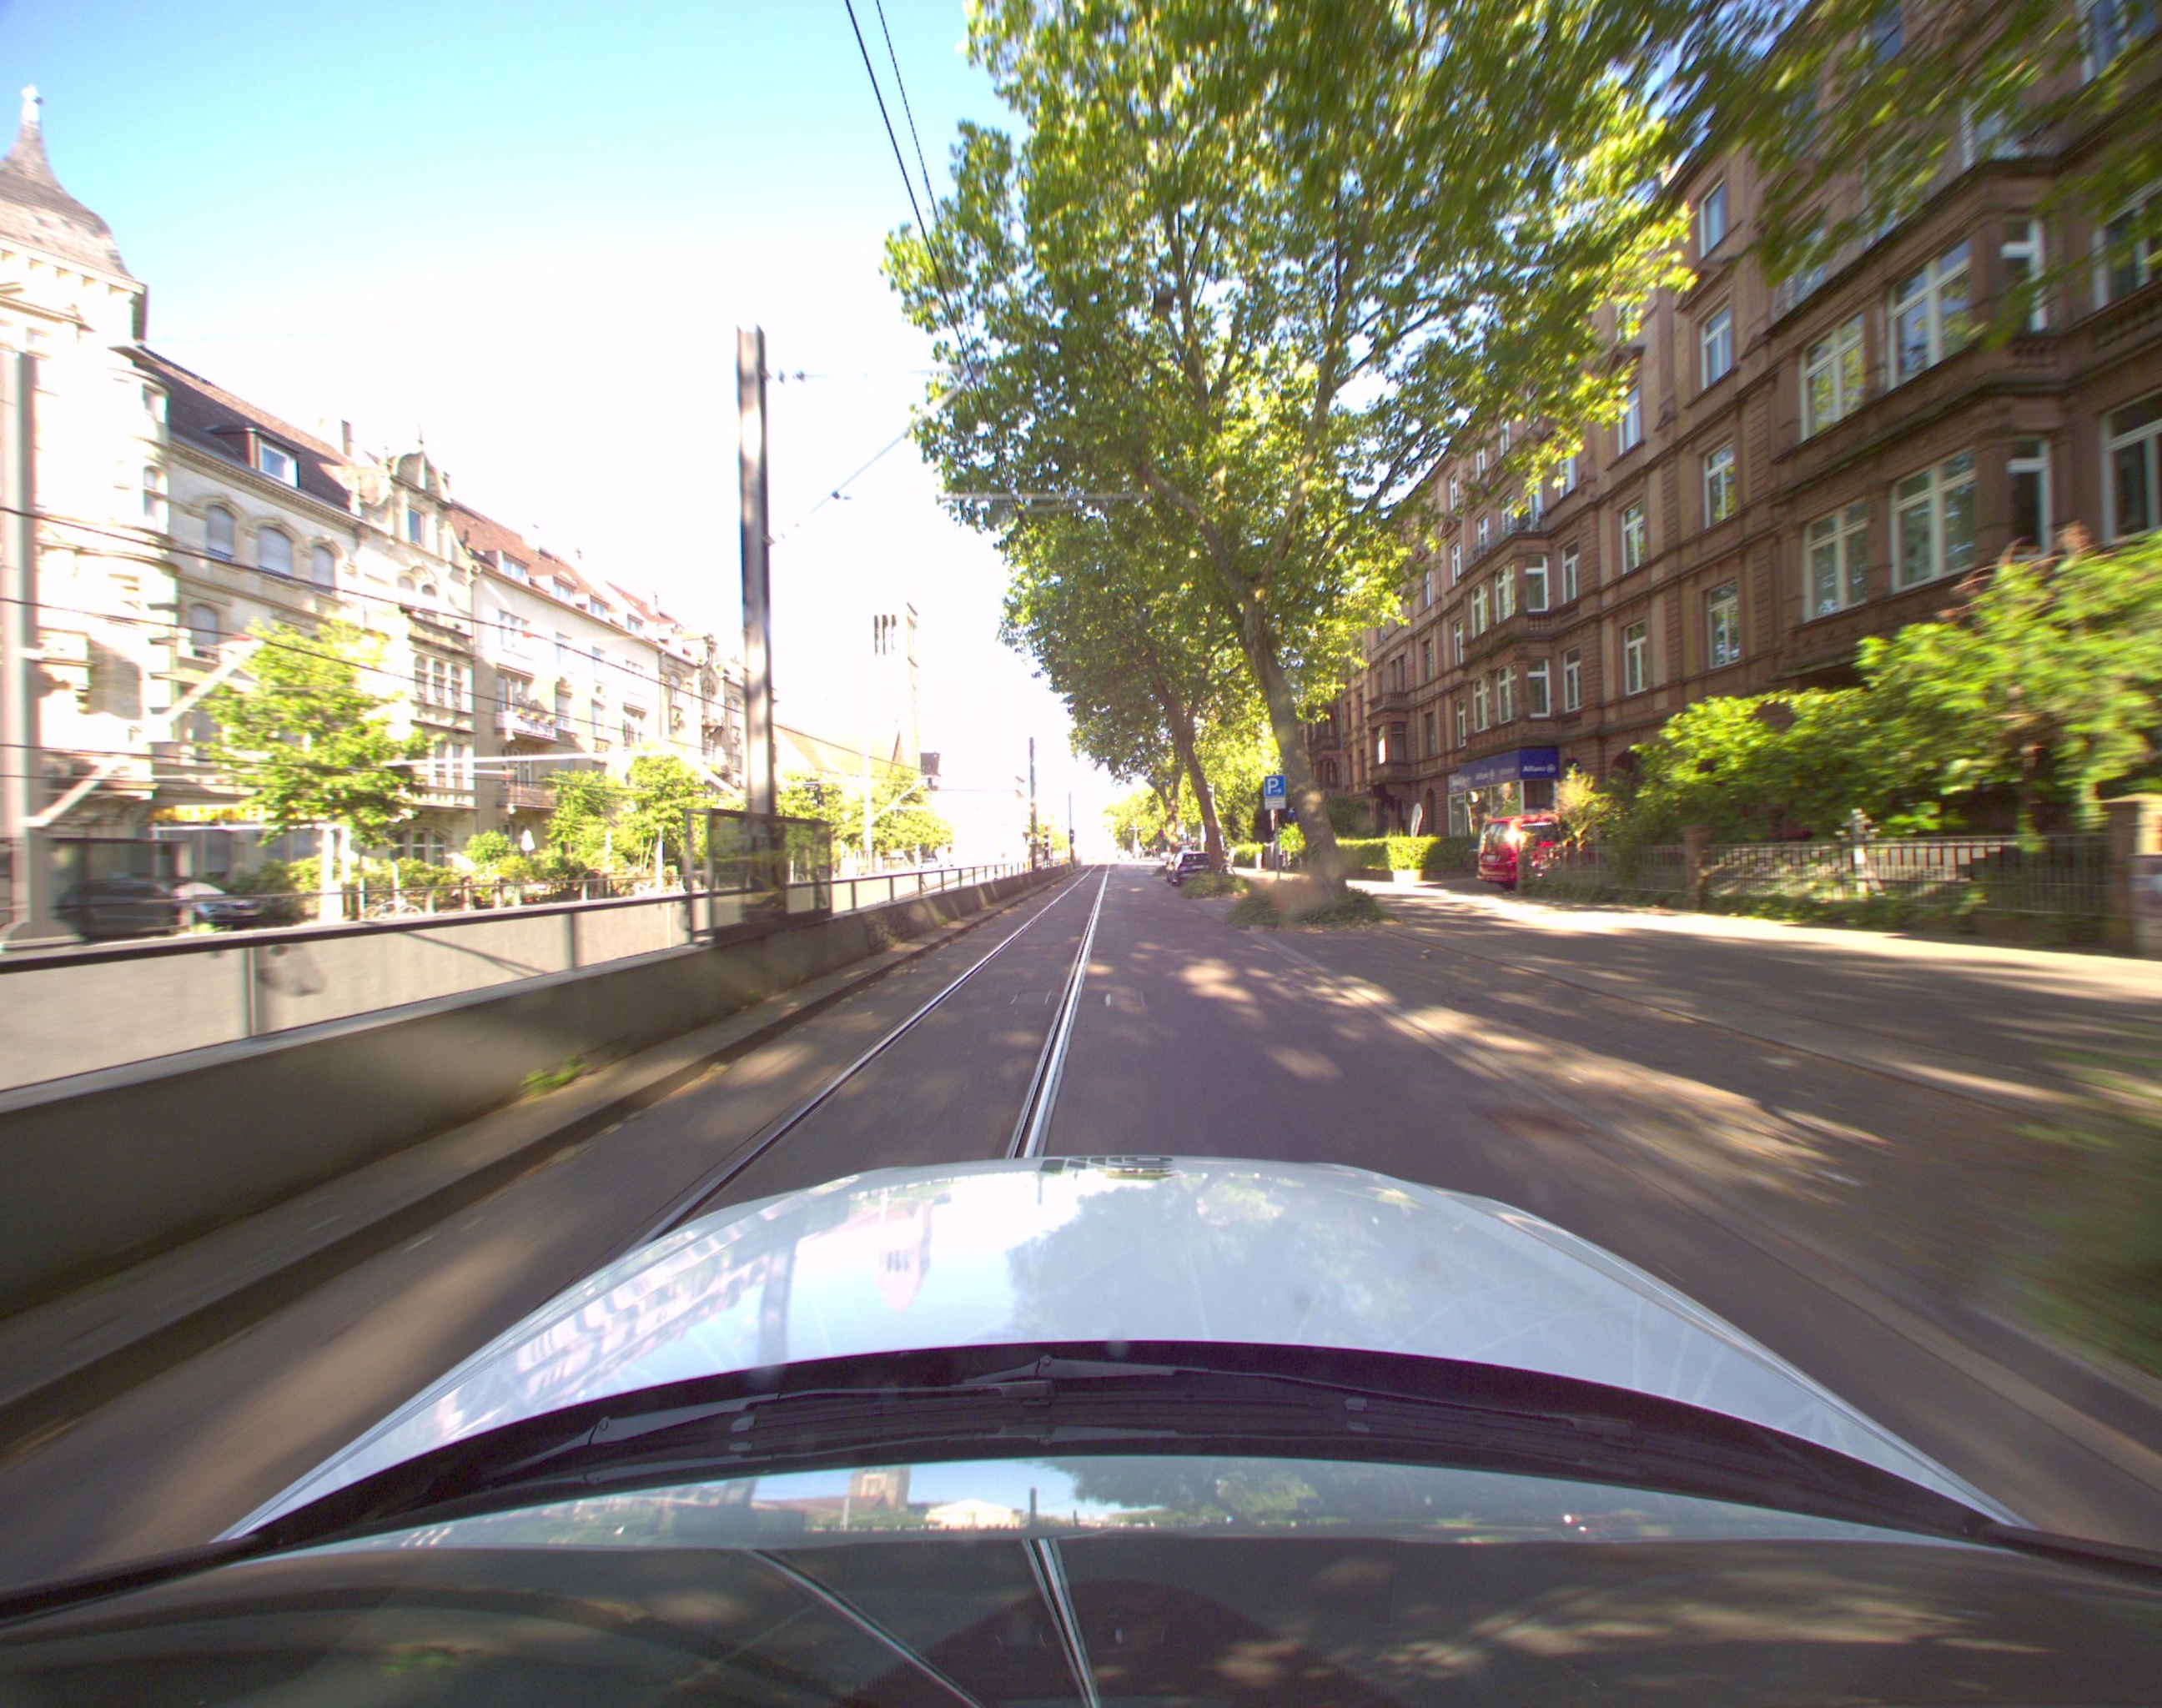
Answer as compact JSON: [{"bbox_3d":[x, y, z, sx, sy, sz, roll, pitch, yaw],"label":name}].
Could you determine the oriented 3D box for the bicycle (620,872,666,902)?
[{"bbox_3d":[-19.550,1.483,36.361,1.721,1.280,0.601,-2,0,8],"label":"bicycle"}]

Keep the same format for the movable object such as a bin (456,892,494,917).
[{"bbox_3d":[-23.382,1.950,31.434,0.895,0.919,0.783,1,0,-4],"label":"movable object such as a bin"}]

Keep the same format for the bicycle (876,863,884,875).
[{"bbox_3d":[-18.109,1.372,73.297,0.487,1.022,1.879,1,0,-22],"label":"bicycle"}]

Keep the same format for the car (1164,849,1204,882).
[{"bbox_3d":[5.091,0.539,40.705,1.546,1.499,4.052,-3,0,2],"label":"car"}]

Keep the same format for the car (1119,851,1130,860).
[{"bbox_3d":[7.173,0.299,134.244,1.739,1.462,3.645,1,0,1],"label":"car"}]

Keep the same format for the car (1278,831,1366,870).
[{"bbox_3d":[14.270,-0.221,48.411,4.555,2.013,1.915,-3,0,1],"label":"car"}]

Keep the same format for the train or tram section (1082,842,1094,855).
[{"bbox_3d":[1.880,-1.482,216.043,2.940,3.410,10.798,1,0,3],"label":"train or tram section"}]

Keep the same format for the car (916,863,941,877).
[{"bbox_3d":[-17.441,1.809,93.324,1.708,1.555,4.515,1,0,4],"label":"car"}]

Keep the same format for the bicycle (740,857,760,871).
[{"bbox_3d":[-25.301,0.737,62.309,0.502,1.018,2.115,1,0,6],"label":"bicycle"}]

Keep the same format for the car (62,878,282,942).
[{"bbox_3d":[-26.117,1.571,23.536,3.983,1.624,1.821,0,0,-7],"label":"car"}]

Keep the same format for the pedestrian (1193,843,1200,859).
[{"bbox_3d":[13.715,-0.368,96.661,0.600,1.776,0.691,-5,-1,6],"label":"pedestrian"}]

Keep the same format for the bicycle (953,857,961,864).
[{"bbox_3d":[-24.728,1.312,162.464,0.826,1.282,2.541,1,0,-28],"label":"bicycle"}]

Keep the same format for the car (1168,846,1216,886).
[{"bbox_3d":[4.893,0.495,36.448,1.610,1.587,4.418,-3,0,1],"label":"car"}]

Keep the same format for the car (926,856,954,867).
[{"bbox_3d":[-22.314,1.162,129.327,3.969,1.756,1.897,1,0,4],"label":"car"}]

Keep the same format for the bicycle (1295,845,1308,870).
[{"bbox_3d":[11.409,0.188,42.129,0.336,1.250,1.770,1,0,6],"label":"bicycle"}]

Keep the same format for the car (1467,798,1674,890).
[{"bbox_3d":[12.816,-0.249,21.518,4.162,2.013,2.000,-4,0,0],"label":"car"}]
